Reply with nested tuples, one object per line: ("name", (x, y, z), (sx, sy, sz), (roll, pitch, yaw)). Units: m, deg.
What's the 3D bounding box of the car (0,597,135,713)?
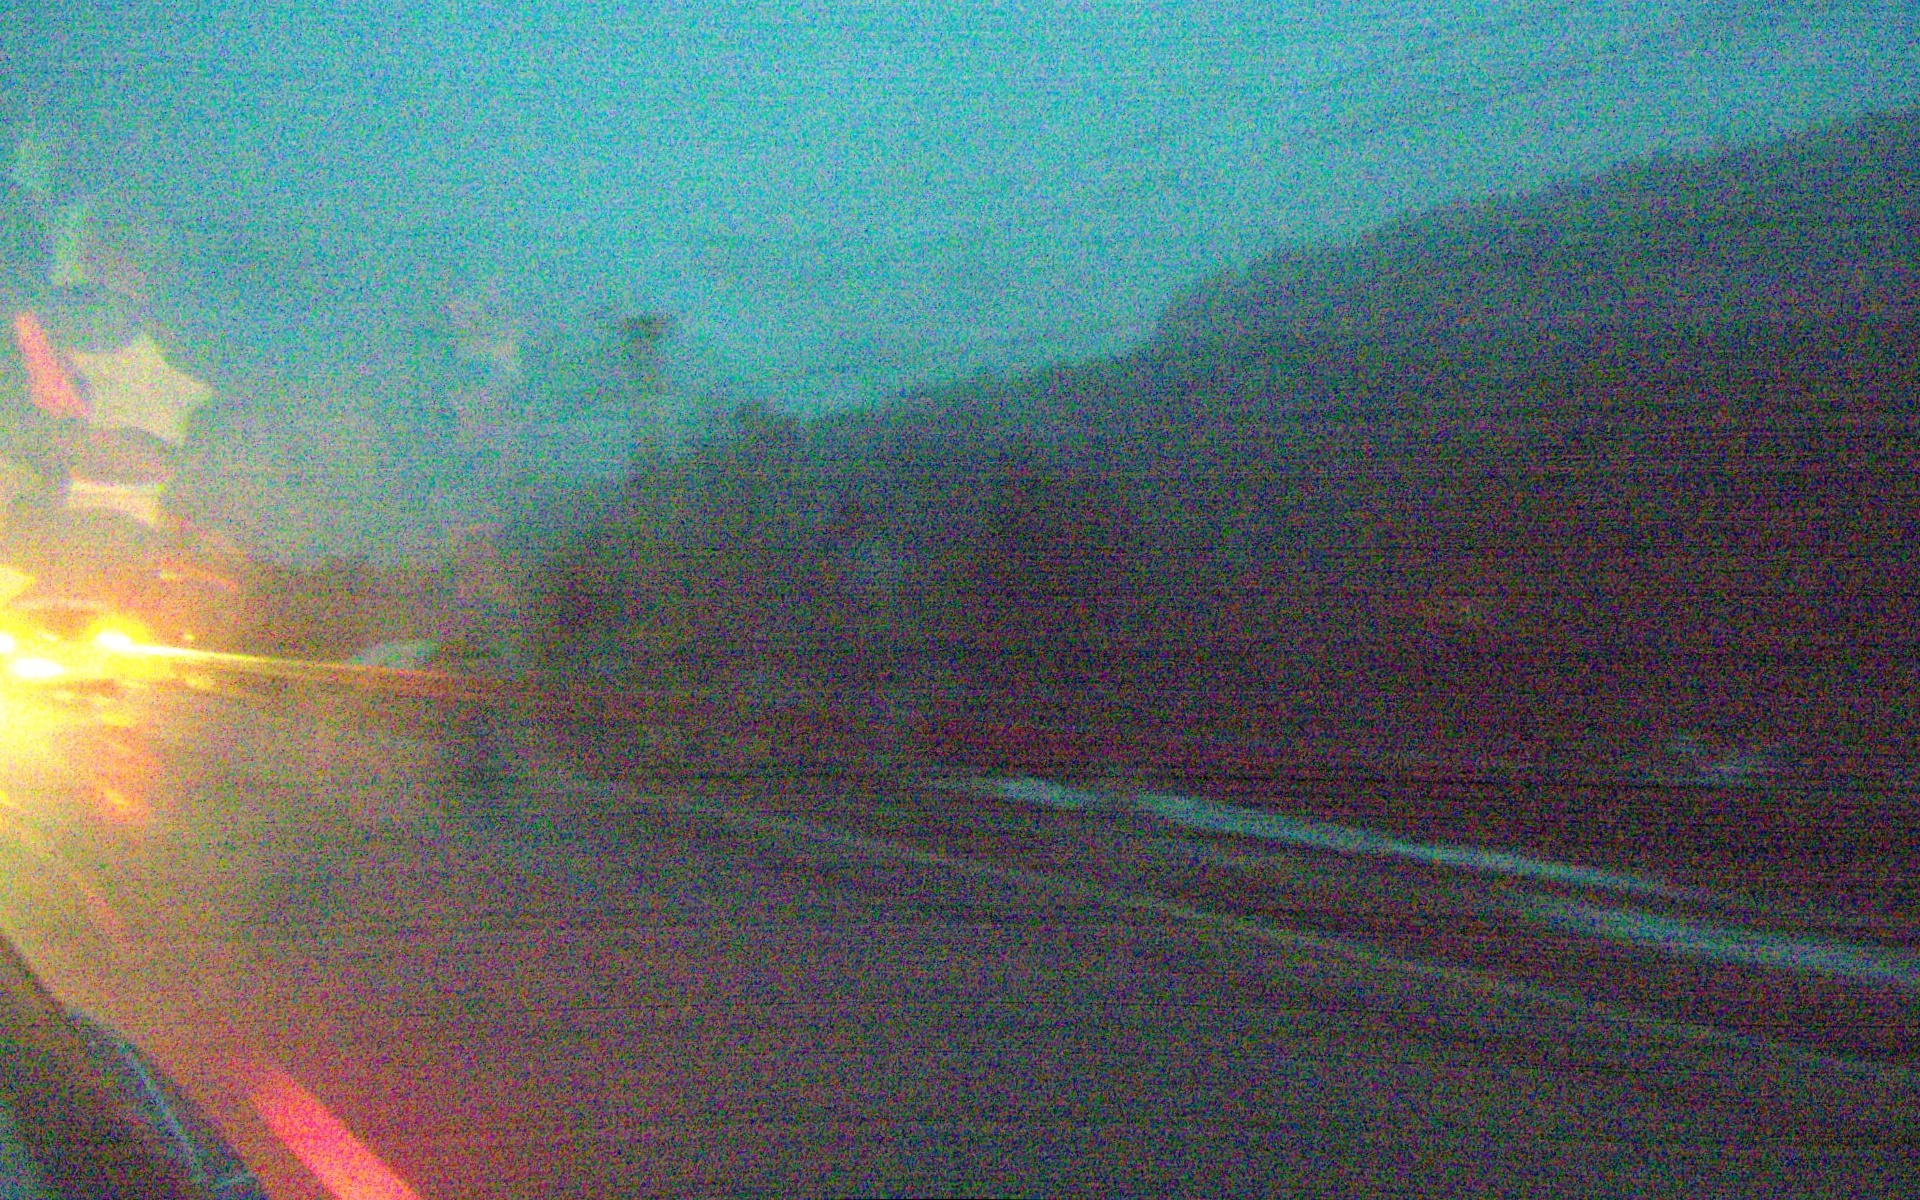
("car", (-16.409, 0.892, 18.063), (3.999, 1.836, 1.973), (-1, 0, 42))
